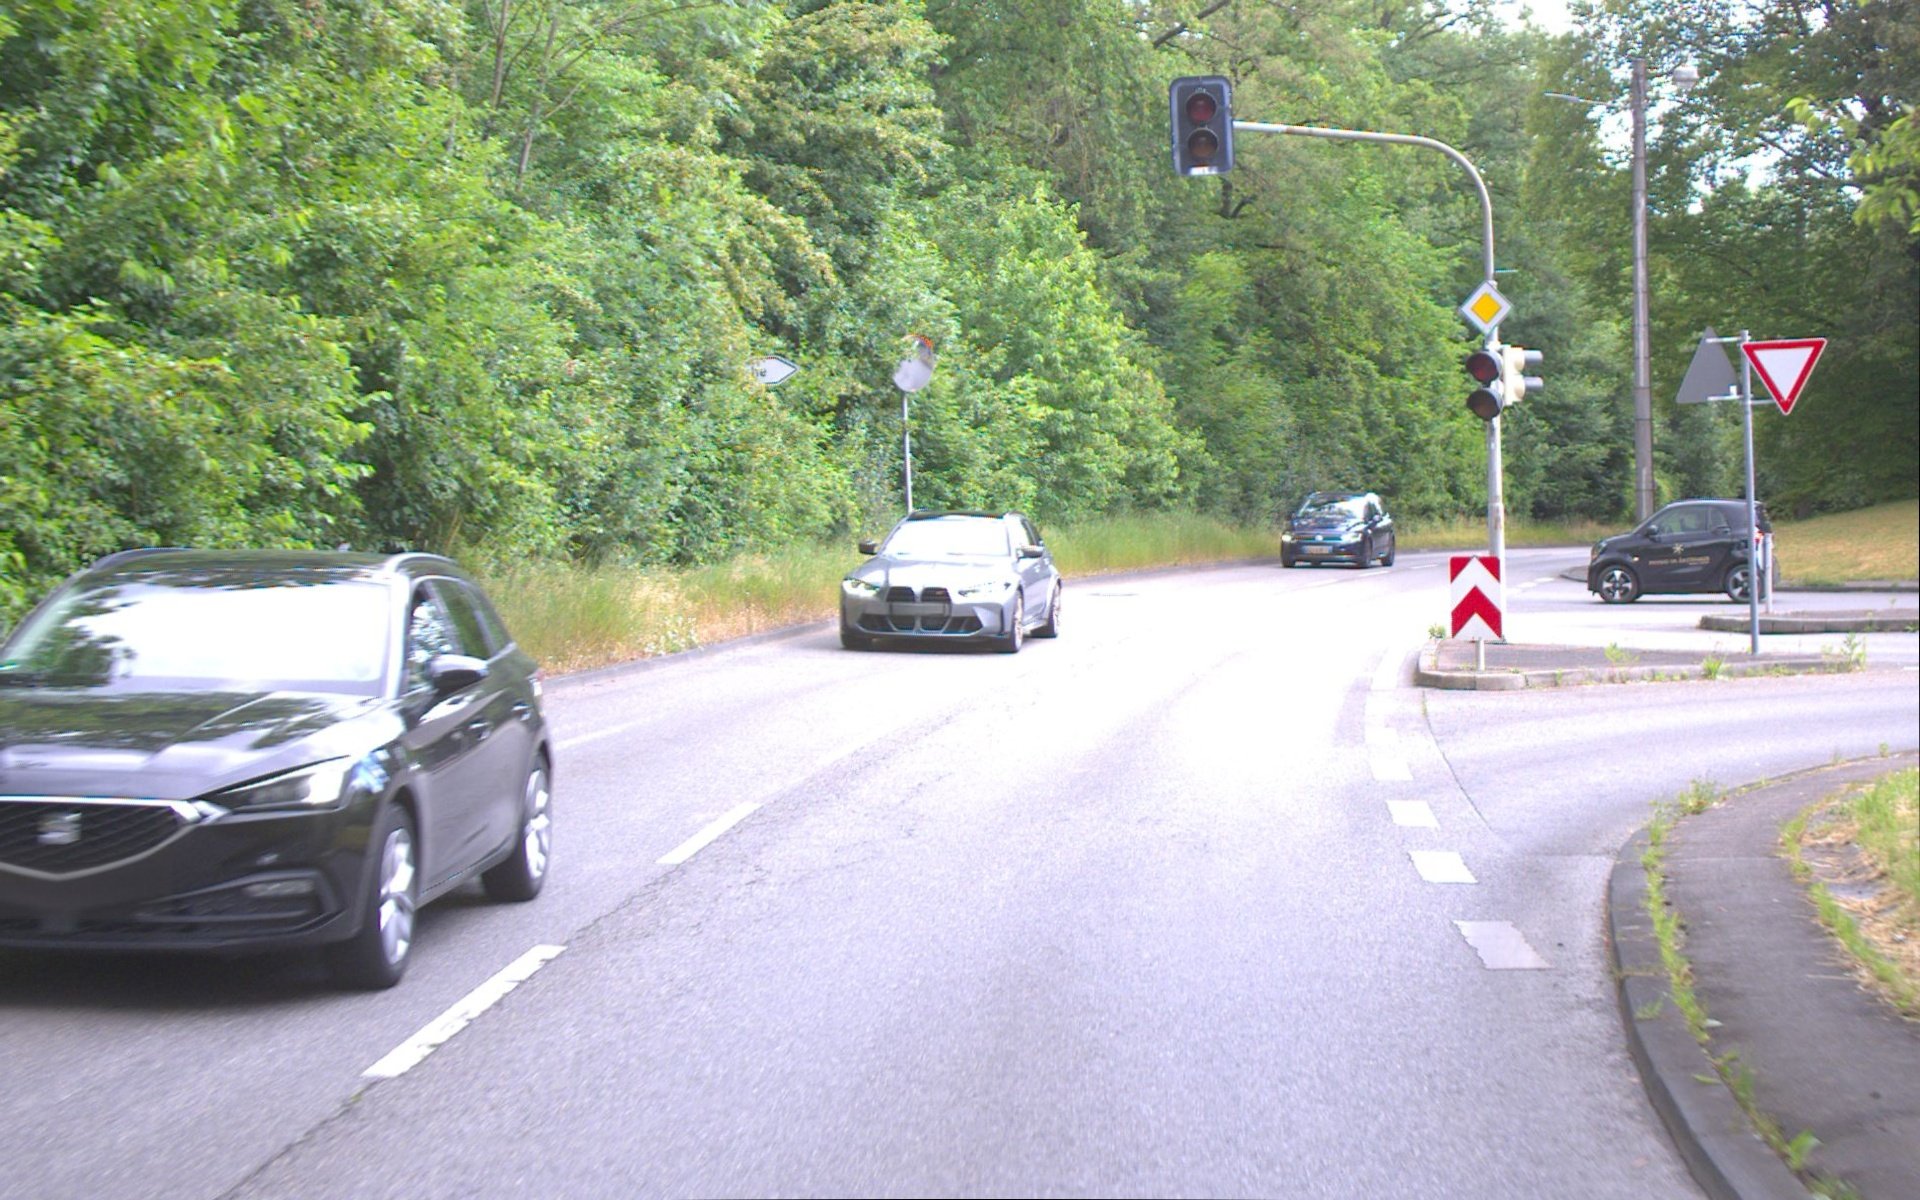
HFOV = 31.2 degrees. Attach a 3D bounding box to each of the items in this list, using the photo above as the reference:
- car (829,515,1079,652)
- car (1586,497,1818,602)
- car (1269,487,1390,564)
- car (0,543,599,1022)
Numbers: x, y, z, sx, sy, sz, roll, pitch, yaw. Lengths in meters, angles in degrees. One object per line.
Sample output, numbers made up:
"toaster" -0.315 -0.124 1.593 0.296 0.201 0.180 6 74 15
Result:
"car" 0.017 -0.217 37.956 1.899 1.349 4.840 2 1 10
"car" 11.040 -0.761 51.123 3.305 1.489 1.667 -1 2 13
"car" 7.655 -1.549 70.852 1.790 1.509 4.839 -1 1 14
"car" -2.633 0.521 12.923 1.803 1.429 4.660 1 1 3
